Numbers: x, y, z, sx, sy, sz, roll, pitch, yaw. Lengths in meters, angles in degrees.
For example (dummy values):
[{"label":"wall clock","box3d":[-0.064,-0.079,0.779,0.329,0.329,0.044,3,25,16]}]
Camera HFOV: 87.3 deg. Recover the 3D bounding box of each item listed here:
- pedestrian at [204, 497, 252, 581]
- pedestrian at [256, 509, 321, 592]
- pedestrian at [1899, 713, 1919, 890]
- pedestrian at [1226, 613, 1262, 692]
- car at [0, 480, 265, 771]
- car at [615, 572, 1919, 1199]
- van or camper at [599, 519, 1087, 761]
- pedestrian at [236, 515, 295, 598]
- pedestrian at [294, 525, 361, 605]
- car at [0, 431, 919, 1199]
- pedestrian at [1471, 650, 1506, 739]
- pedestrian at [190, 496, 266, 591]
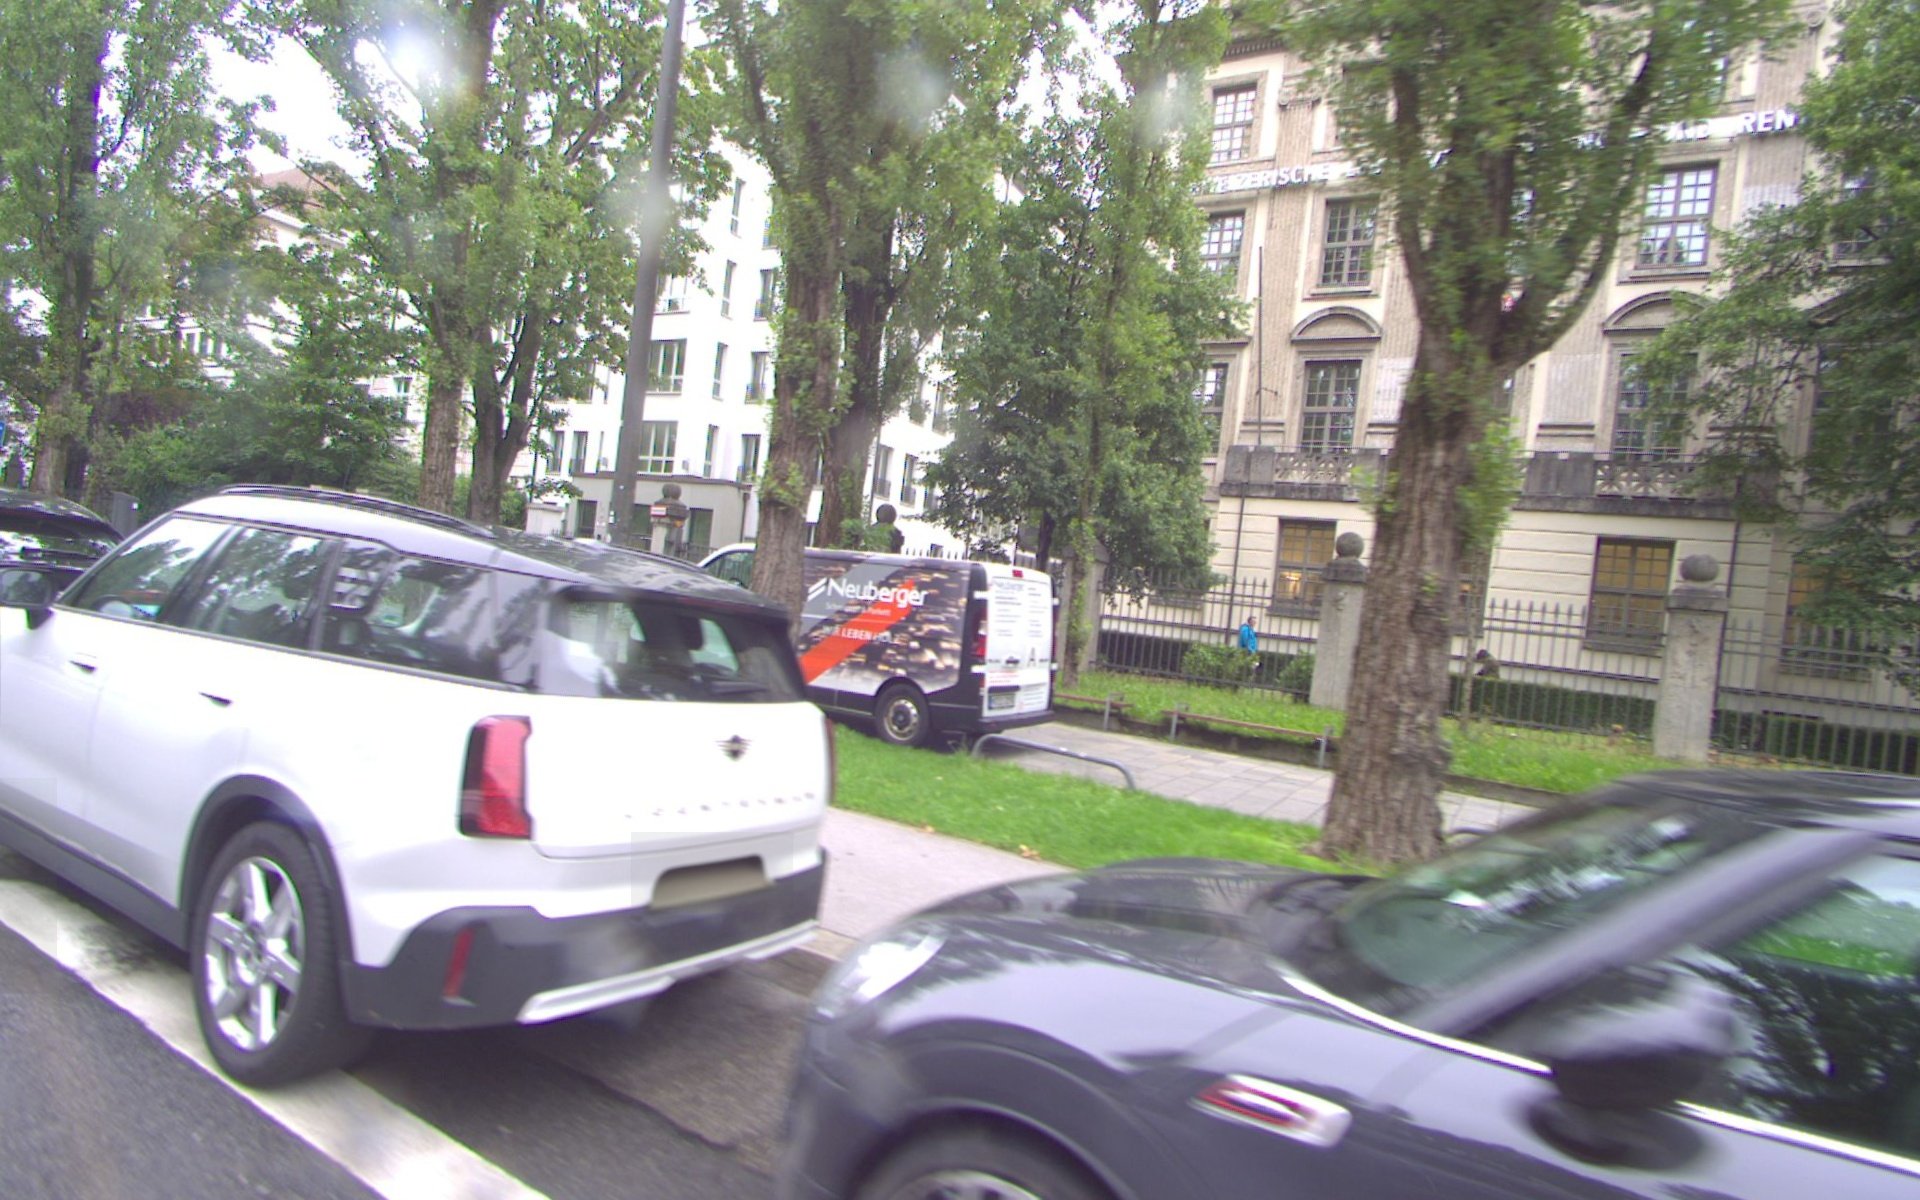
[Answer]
[{"label":"pedestrian","box3d":[-17.290,-1.433,23.762,0.626,1.886,0.488,6,1,14]},{"label":"pedestrian","box3d":[-15.773,-1.150,23.639,0.805,1.804,0.802,6,1,14]},{"label":"pedestrian","box3d":[8.572,1.580,8.314,0.880,1.790,0.795,7,1,32]},{"label":"pedestrian","box3d":[7.063,1.293,24.969,0.592,1.886,0.638,7,1,22]},{"label":"car","box3d":[-6.843,-0.060,6.752,4.390,1.560,1.882,7,0,32]},{"label":"car","box3d":[1.577,0.984,1.694,4.223,1.538,1.705,7,0,31]},{"label":"van or camper","box3d":[-1.475,0.351,11.648,5.279,1.957,2.080,7,-1,31]},{"label":"pedestrian","box3d":[-14.301,-0.899,20.716,0.853,1.598,0.568,7,1,31]},{"label":"pedestrian","box3d":[-15.494,-0.843,24.675,0.814,1.823,0.904,9,2,10]},{"label":"car","box3d":[-2.598,0.356,4.082,4.503,1.696,1.745,7,0,31]},{"label":"pedestrian","box3d":[11.779,2.097,22.416,0.495,1.886,0.637,7,1,29]},{"label":"pedestrian","box3d":[-14.472,-1.107,19.907,0.853,1.739,0.854,7,2,30]}]
